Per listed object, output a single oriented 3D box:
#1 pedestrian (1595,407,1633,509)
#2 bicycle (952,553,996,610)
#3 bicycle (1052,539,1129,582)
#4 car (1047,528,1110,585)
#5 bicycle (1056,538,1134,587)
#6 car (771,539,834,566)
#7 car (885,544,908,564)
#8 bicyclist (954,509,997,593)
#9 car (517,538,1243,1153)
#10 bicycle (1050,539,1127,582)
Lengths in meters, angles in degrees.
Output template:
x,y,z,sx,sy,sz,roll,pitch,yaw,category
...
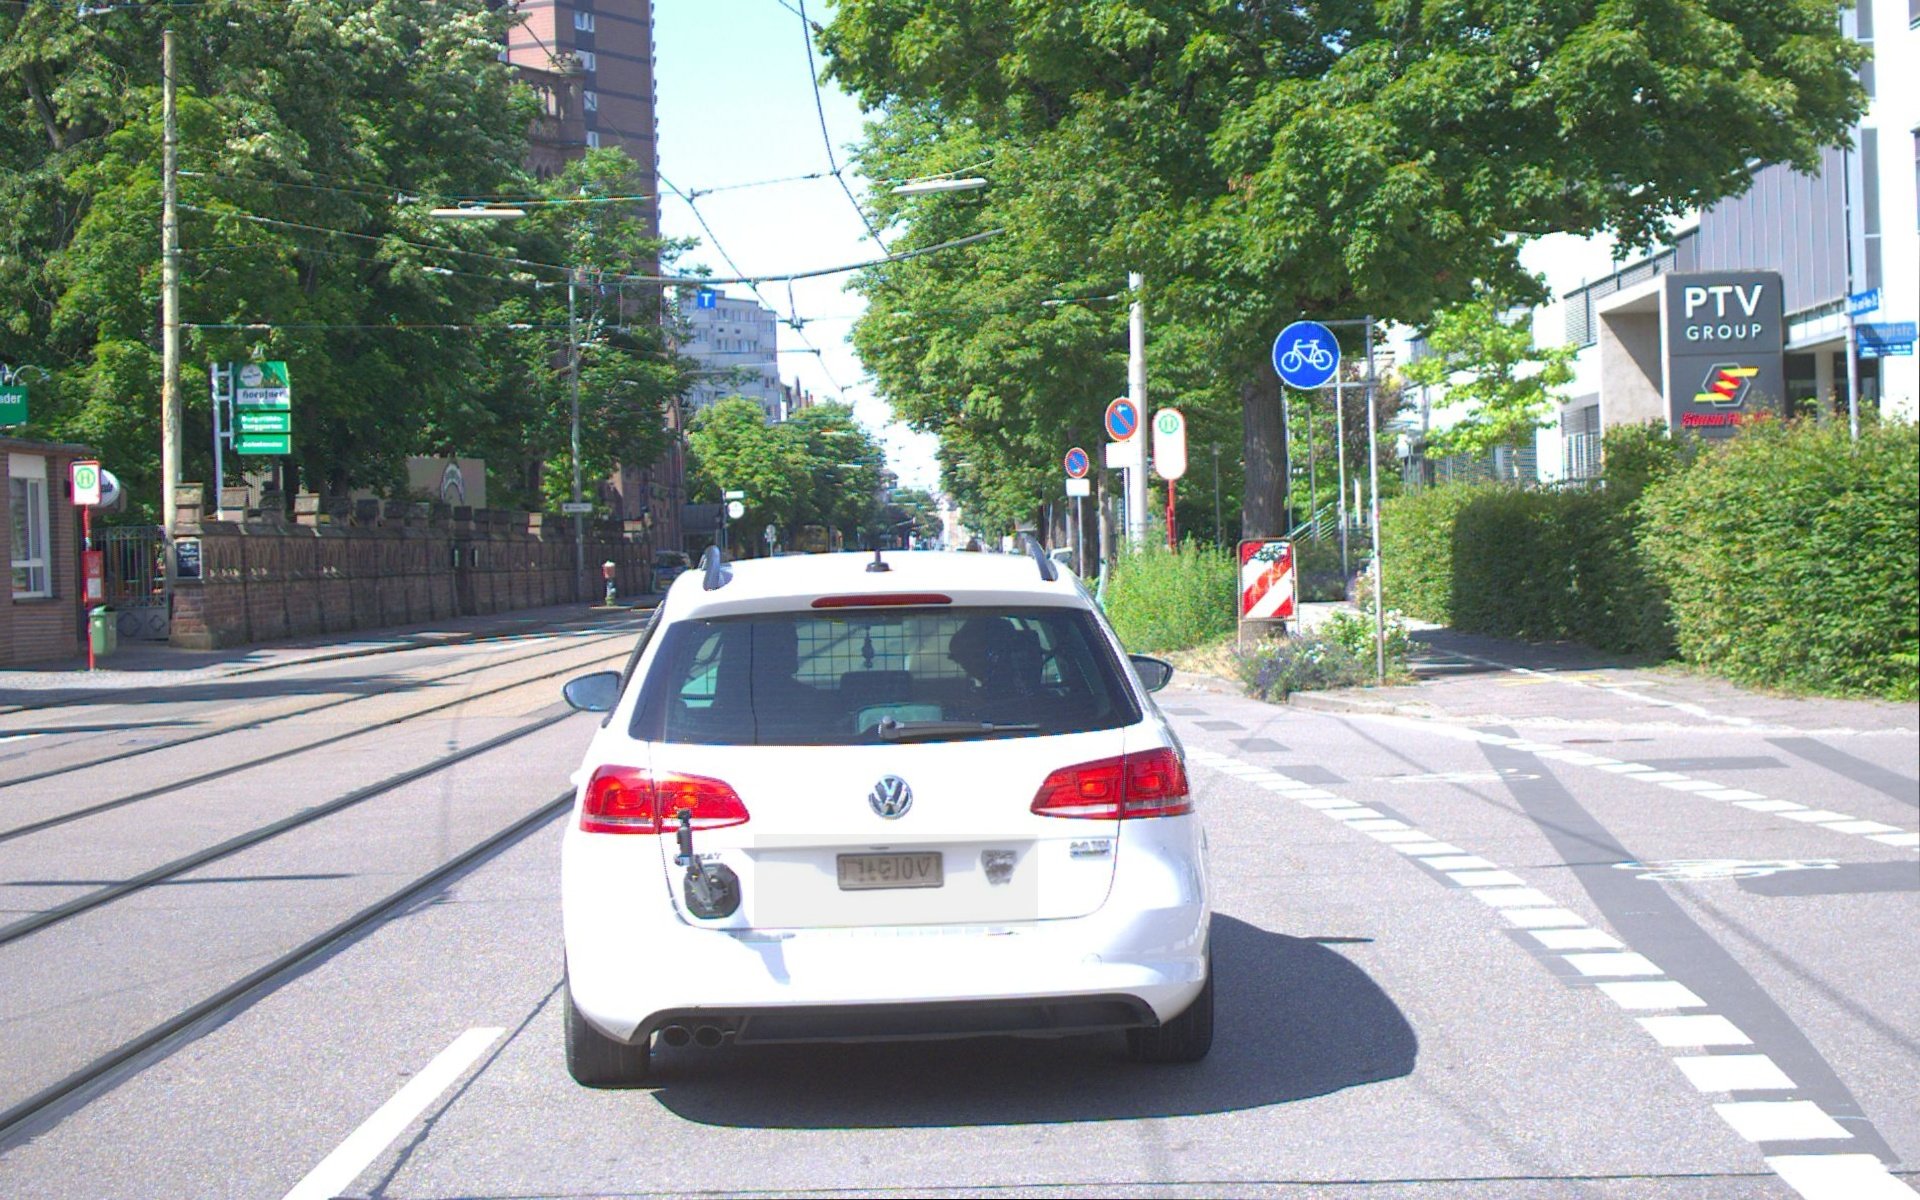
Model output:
x,y,z,sx,sy,sz,roll,pitch,yaw,category
11.205,-2.435,58.895,0.498,1.722,0.547,-1,1,0,pedestrian
0.289,-0.369,67.978,0.811,1.074,2.012,-1,1,1,bicycle
3.286,-0.985,86.527,1.911,1.079,0.551,0,1,-2,bicycle
3.168,-1.185,92.448,1.590,1.446,3.946,-2,1,1,car
3.187,-0.893,81.533,1.774,1.079,0.596,-2,1,-2,bicycle
-11.212,-3.382,244.864,3.988,1.809,2.000,-3,1,-35,car
-4.723,-3.429,254.996,1.493,1.380,3.642,-2,1,1,car
0.304,-0.971,68.097,0.786,1.623,0.738,-2,0,1,bicyclist
-0.206,0.559,10.568,1.753,1.437,4.413,-1,2,0,car
3.250,-1.001,87.127,1.911,1.079,0.551,1,1,-2,bicycle
